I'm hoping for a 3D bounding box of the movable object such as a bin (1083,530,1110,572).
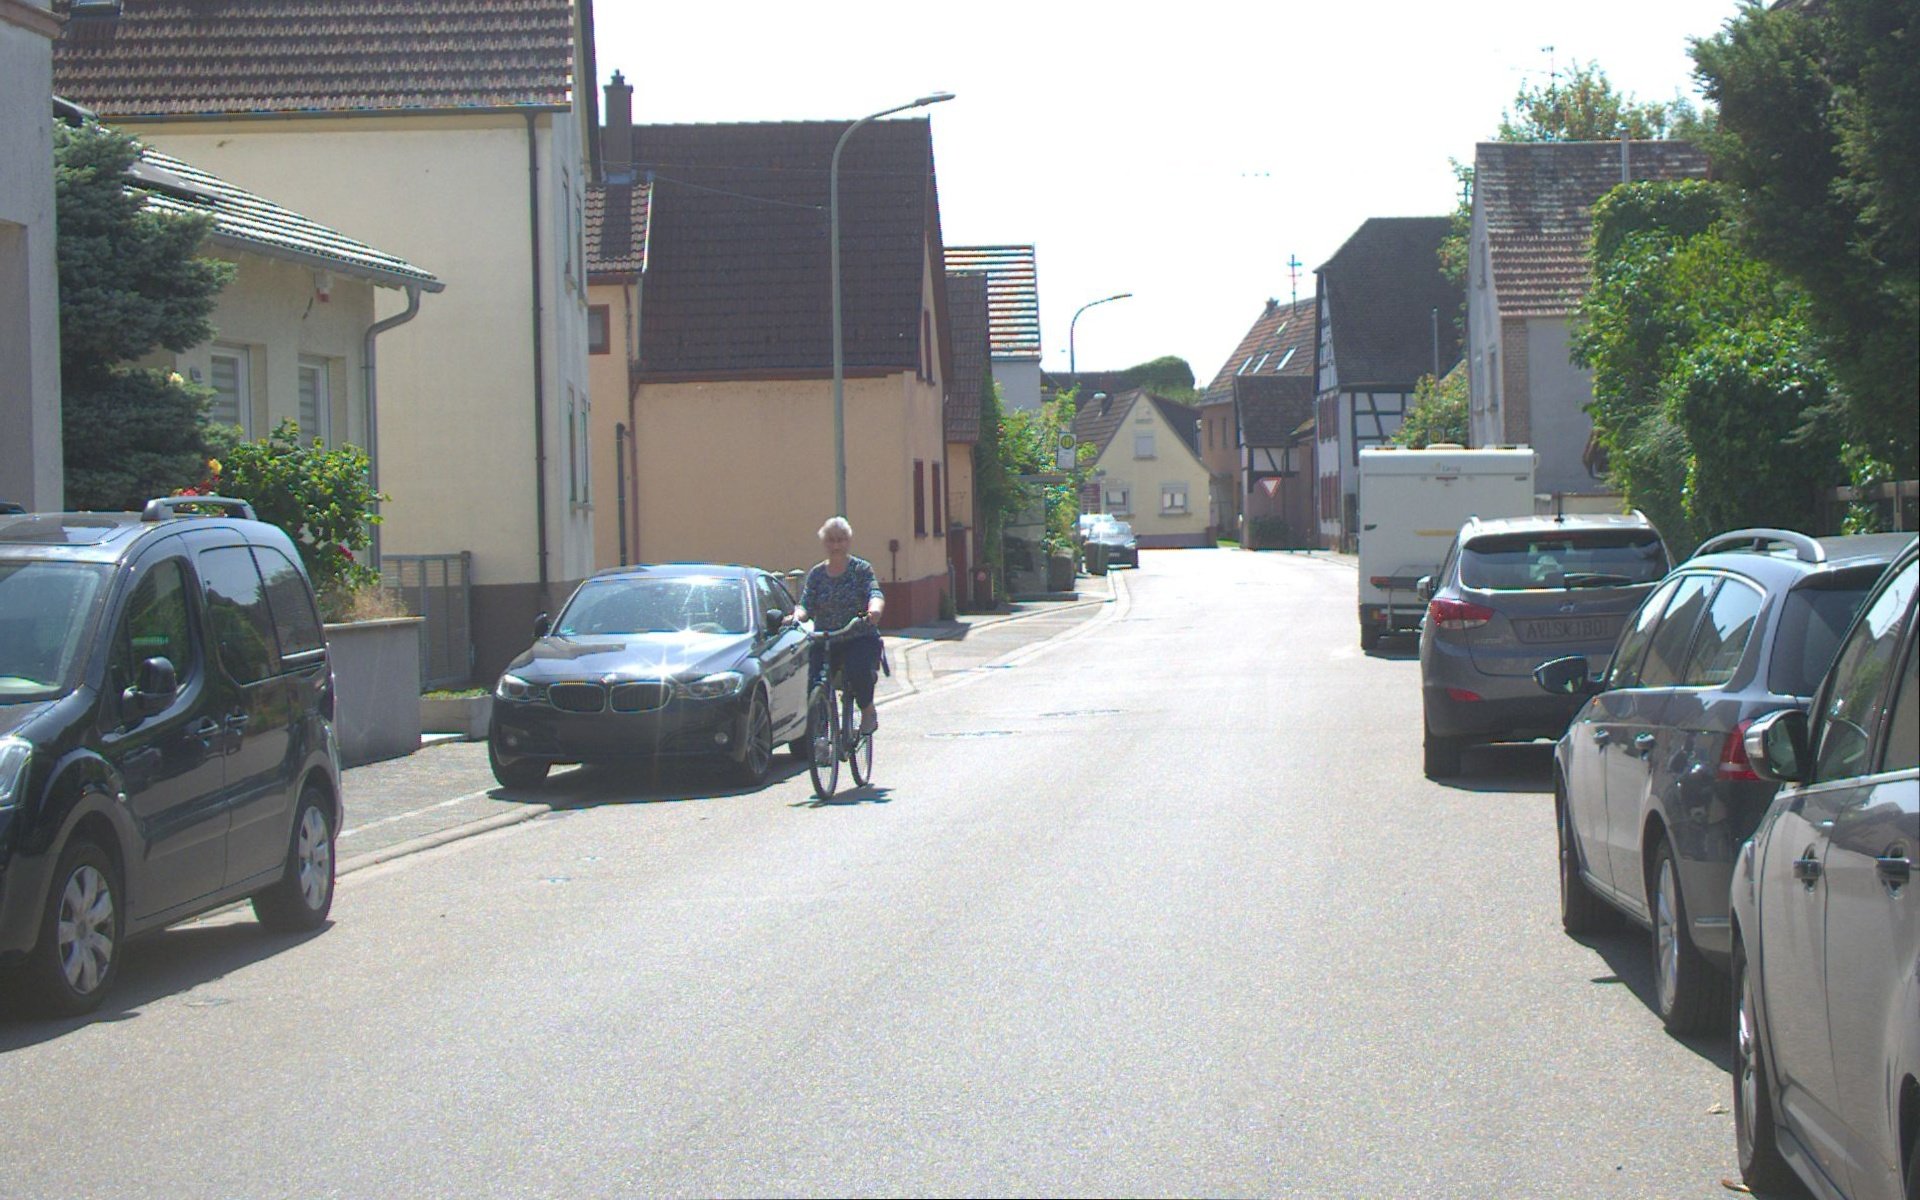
[{"bbox_3d":[3.907,-1.400,98.185,0.689,1.181,0.714,-2,1,6],"label":"movable object such as a bin"}]

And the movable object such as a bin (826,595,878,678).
[{"bbox_3d":[-1.250,0.424,39.877,0.539,0.946,0.553,0,1,6],"label":"movable object such as a bin"}]

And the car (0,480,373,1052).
[{"bbox_3d":[-3.771,0.509,13.108,1.835,1.831,4.352,-1,1,7],"label":"car"}]

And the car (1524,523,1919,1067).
[{"bbox_3d":[3.074,0.498,11.881,1.820,1.503,4.581,-1,1,5],"label":"car"}]

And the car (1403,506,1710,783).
[{"bbox_3d":[3.952,0.217,22.962,1.794,1.625,4.359,-2,1,9],"label":"car"}]

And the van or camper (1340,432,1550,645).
[{"bbox_3d":[6.513,-0.833,46.661,2.522,2.687,4.554,-1,1,5],"label":"van or camper"}]

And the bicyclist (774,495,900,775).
[{"bbox_3d":[-0.790,0.219,22.230,0.704,1.765,0.625,-2,1,2],"label":"bicyclist"}]

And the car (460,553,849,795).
[{"bbox_3d":[-2.073,0.454,24.751,1.845,1.521,4.764,-1,1,7],"label":"car"}]

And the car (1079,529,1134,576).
[{"bbox_3d":[4.712,-1.536,110.535,1.512,1.431,3.511,-2,1,6],"label":"car"}]

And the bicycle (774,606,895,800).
[{"bbox_3d":[-0.798,0.643,22.369,0.589,1.144,1.948,-2,1,3],"label":"bicycle"}]

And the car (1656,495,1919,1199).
[{"bbox_3d":[2.476,0.571,6.617,1.798,1.555,4.630,-1,1,6],"label":"car"}]
